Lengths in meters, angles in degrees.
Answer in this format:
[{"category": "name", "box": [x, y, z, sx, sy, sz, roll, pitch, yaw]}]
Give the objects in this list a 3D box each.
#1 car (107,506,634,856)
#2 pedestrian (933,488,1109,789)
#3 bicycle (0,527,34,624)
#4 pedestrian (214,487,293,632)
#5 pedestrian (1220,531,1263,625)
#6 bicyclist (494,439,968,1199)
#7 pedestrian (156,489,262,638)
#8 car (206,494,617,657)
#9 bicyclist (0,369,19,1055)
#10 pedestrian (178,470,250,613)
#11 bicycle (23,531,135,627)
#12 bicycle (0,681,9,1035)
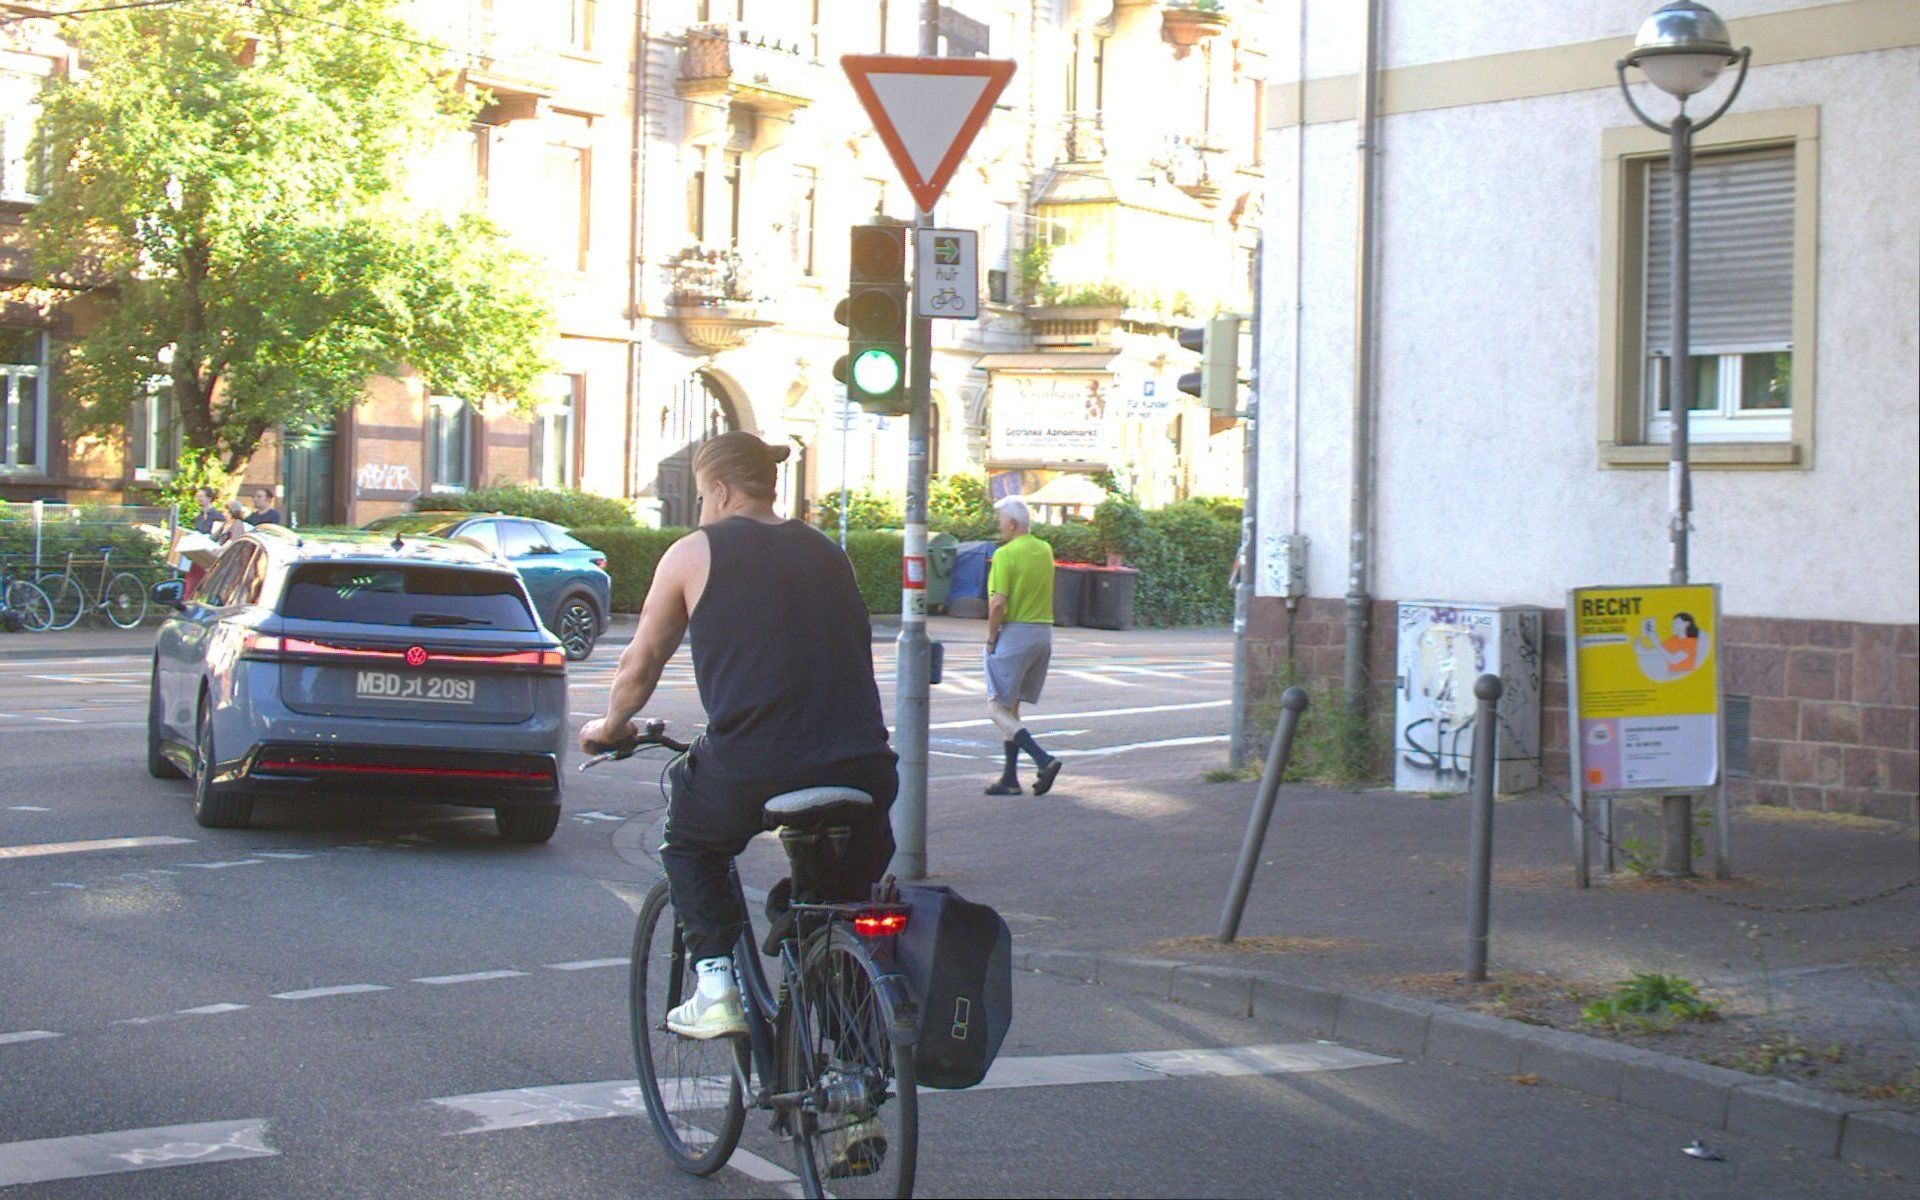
[{"category": "car", "box": [-3.331, 0.349, 18.644, 1.969, 1.580, 4.476, 3, 1, -20]}, {"category": "pedestrian", "box": [0.357, 0.208, 20.317, 0.643, 1.721, 0.888, -2, 2, -31]}, {"category": "bicycle", "box": [-11.352, -0.283, 39.677, 0.443, 1.103, 1.231, 3, 2, 39]}, {"category": "pedestrian", "box": [-8.442, -0.488, 41.075, 0.635, 1.709, 0.663, 1, 1, -44]}, {"category": "pedestrian", "box": [4.947, -0.392, 60.451, 0.526, 1.635, 0.494, 2, 1, 44]}, {"category": "bicyclist", "box": [-0.524, 0.487, 7.567, 0.686, 1.650, 0.989, 0, 1, -28]}, {"category": "pedestrian", "box": [-8.668, -0.420, 39.658, 0.895, 1.659, 0.712, 1, 4, -40]}, {"category": "car", "box": [-5.916, -0.272, 37.573, 1.946, 1.644, 4.402, 2, 1, 33]}, {"category": "bicyclist", "box": [-2.473, 0.278, 7.543, 0.706, 1.568, 0.957, 2, 1, -13]}, {"category": "pedestrian", "box": [-9.021, -0.709, 41.587, 0.635, 1.709, 0.521, 1, 1, -44]}, {"category": "bicycle", "box": [-10.442, -0.245, 40.771, 0.443, 1.103, 1.231, 3, 2, 39]}, {"category": "bicycle", "box": [-2.526, 0.773, 7.612, 0.717, 1.103, 1.967, 2, 1, -13]}]
